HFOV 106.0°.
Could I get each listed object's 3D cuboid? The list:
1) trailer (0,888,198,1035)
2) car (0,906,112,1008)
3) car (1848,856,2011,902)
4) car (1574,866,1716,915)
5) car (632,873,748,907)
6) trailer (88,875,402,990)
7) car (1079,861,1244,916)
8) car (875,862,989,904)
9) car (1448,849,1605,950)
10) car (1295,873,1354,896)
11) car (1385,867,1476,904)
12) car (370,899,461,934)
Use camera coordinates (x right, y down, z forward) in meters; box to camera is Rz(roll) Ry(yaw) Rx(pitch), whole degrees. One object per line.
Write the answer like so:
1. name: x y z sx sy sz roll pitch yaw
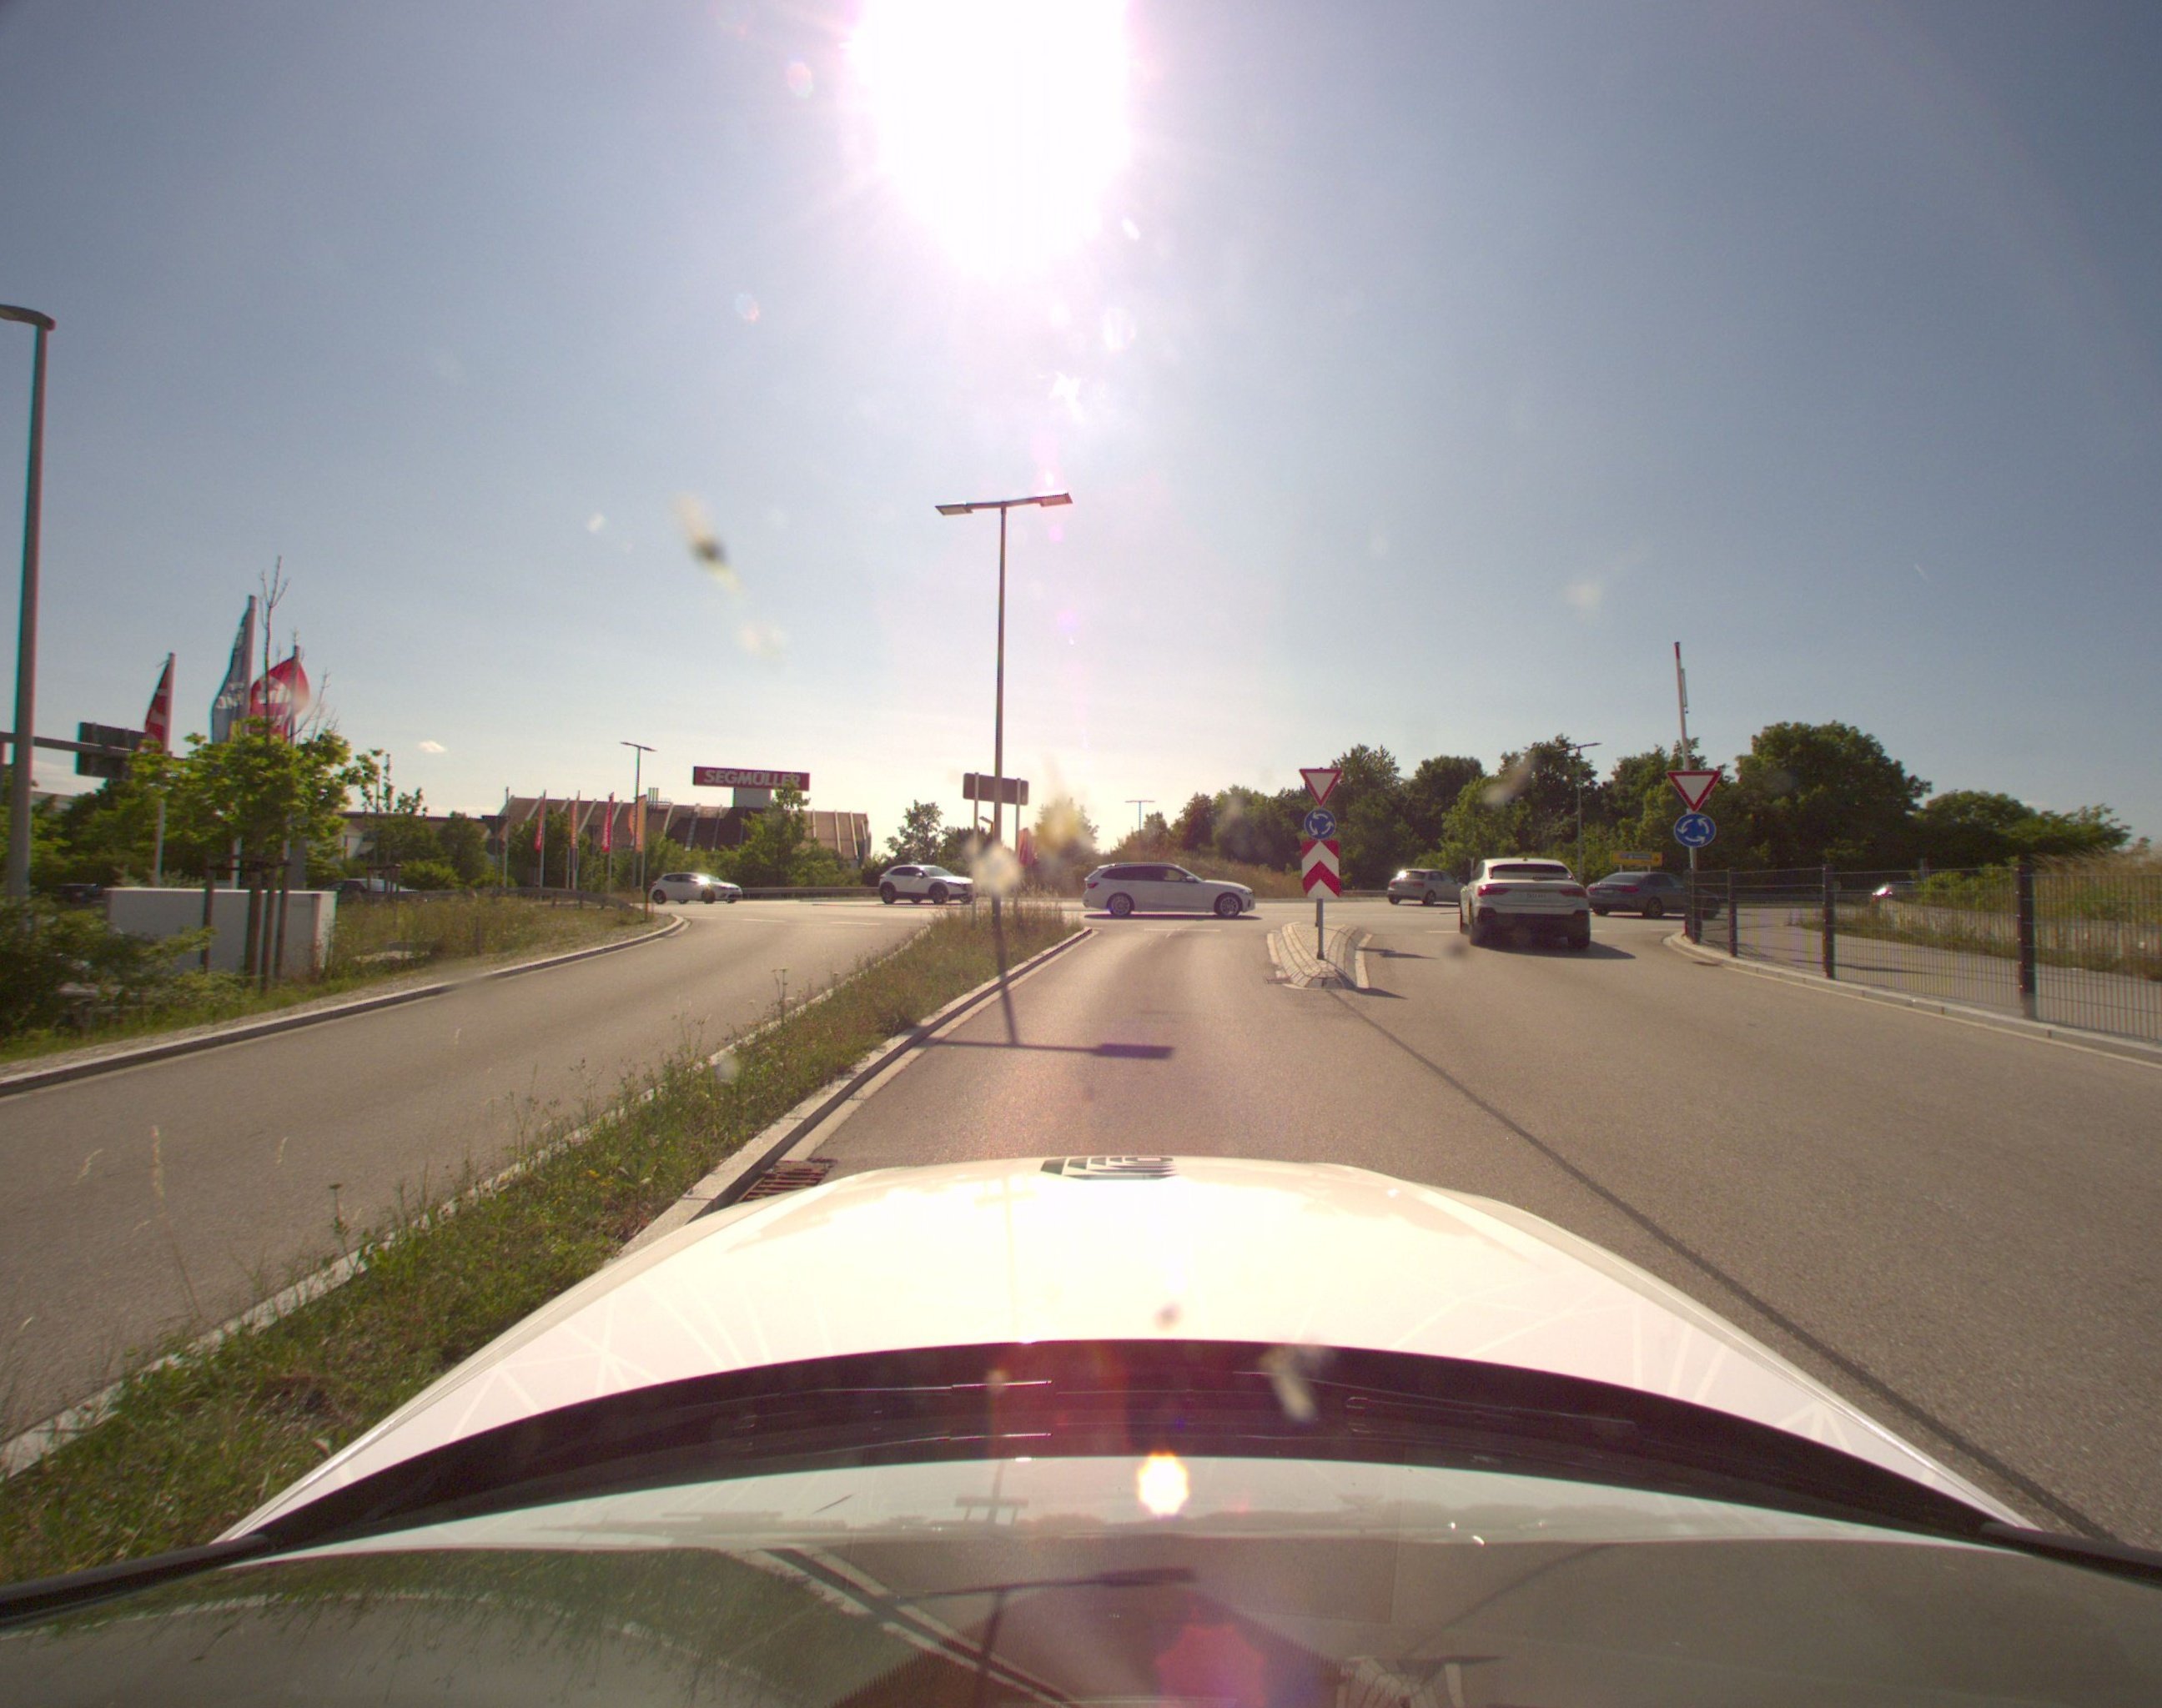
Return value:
1. trailer: -14.456 1.347 10.526 3.710 1.772 1.789 2 -1 -33
2. car: -18.480 1.705 12.885 1.733 1.552 3.743 1 -1 0
3. car: 32.051 0.942 30.887 3.922 1.618 1.825 1 -1 12
4. car: 18.064 1.148 26.028 4.890 1.452 1.980 2 -1 -32
5. car: -17.632 1.593 36.797 4.378 1.405 1.795 1 -1 7
6. trailer: -15.071 1.317 15.019 3.710 1.772 1.789 0 0 -33
7. car: 2.196 0.916 22.193 4.303 1.352 1.576 1 -1 8
8. car: -5.862 1.116 31.923 4.233 1.530 1.803 -1 -2 31
9. car: 8.111 0.763 15.242 1.826 1.596 4.344 0 -1 18
10. car: 16.133 2.028 54.067 1.629 1.405 3.786 2 -1 -25
11. car: 13.776 1.233 32.020 3.784 1.352 1.515 2 -1 -35
12. car: -27.243 2.537 33.309 3.815 1.182 1.687 0 -1 32
